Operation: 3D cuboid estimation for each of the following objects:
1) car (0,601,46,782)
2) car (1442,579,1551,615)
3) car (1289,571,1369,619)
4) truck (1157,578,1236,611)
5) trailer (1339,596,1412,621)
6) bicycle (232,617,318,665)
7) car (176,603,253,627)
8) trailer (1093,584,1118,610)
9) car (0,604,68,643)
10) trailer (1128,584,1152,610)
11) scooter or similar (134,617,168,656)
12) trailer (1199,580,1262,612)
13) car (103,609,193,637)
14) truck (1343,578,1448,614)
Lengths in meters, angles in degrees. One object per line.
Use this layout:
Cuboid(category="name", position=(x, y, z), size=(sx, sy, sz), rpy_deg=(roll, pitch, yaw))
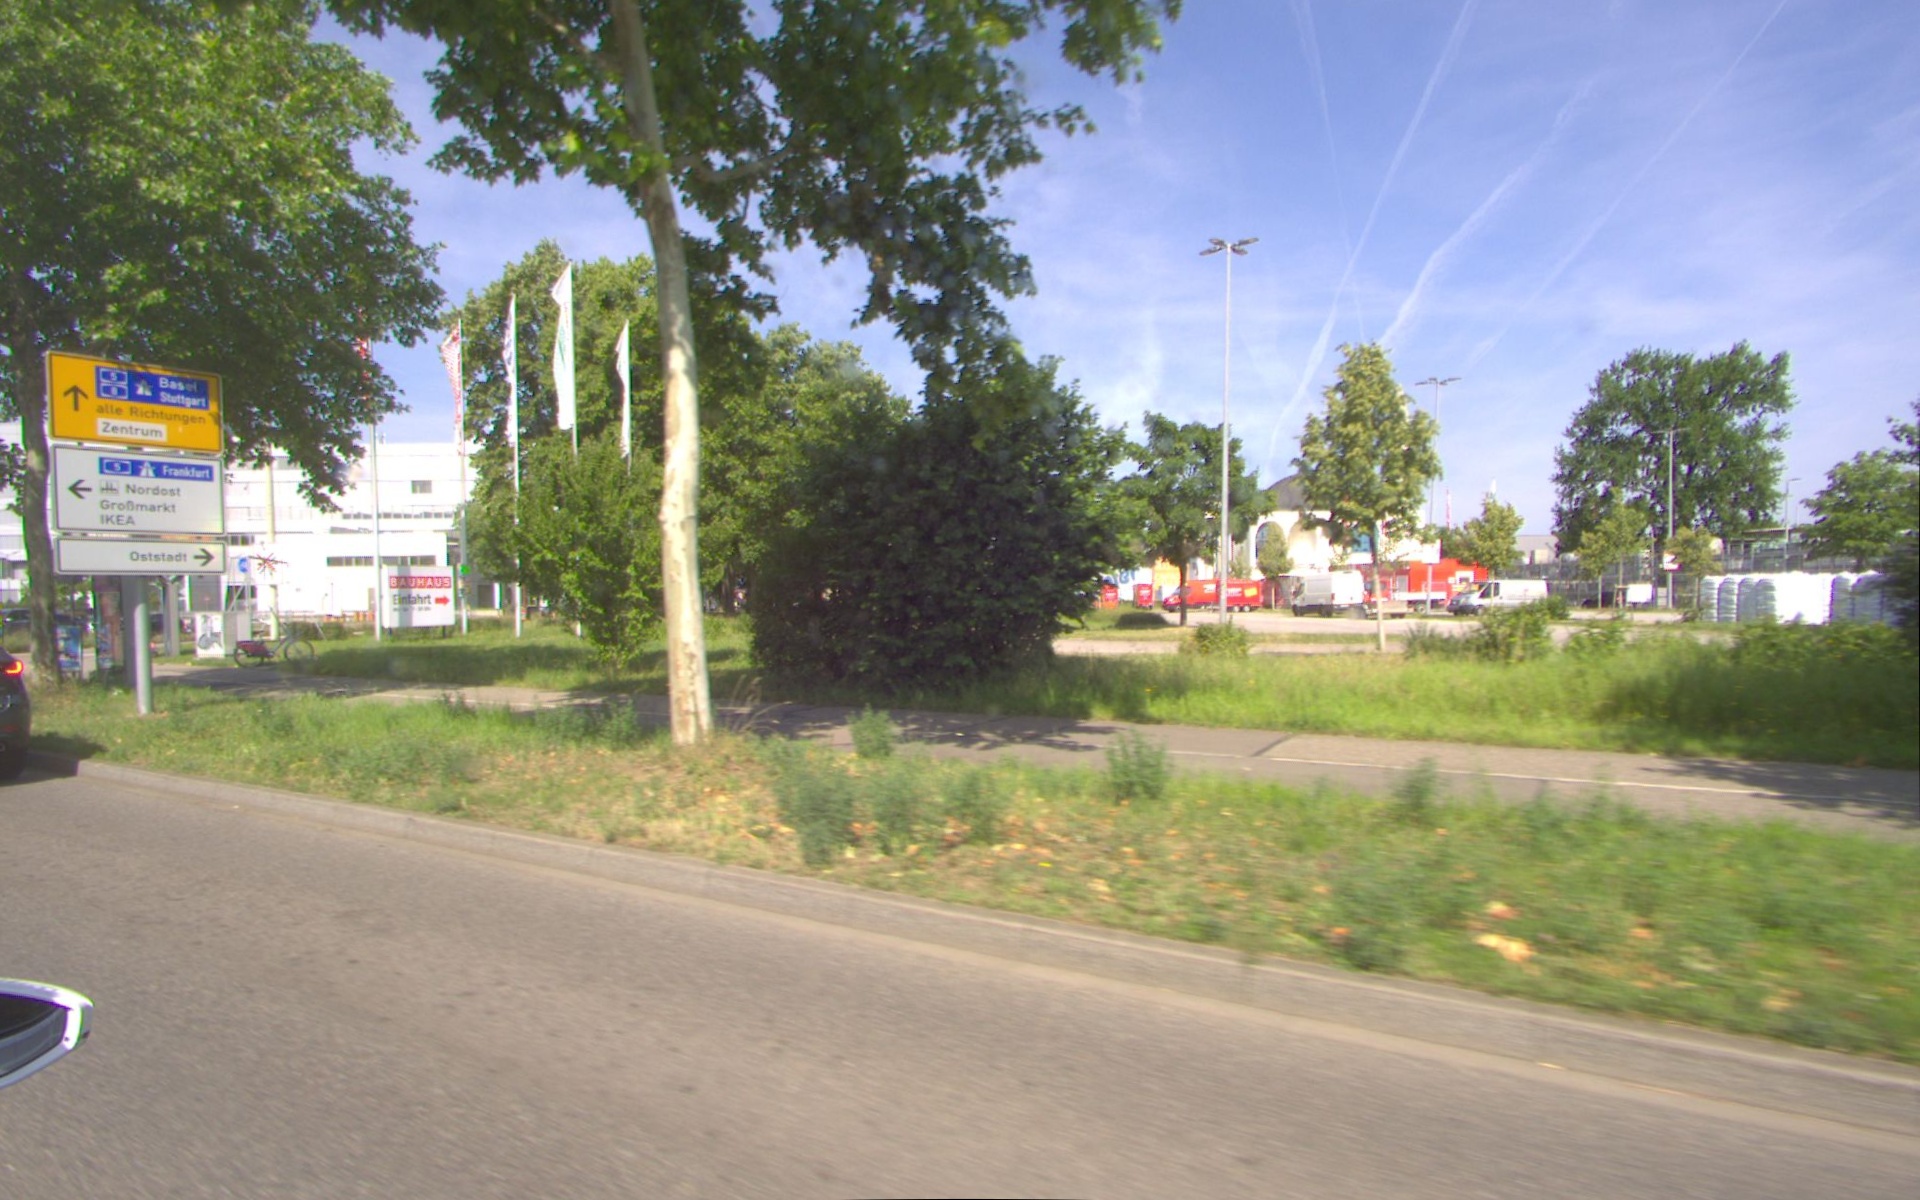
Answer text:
Cuboid(category="car", position=(-11.098, 0.872, 9.997), size=(4.431, 1.680, 1.763), rpy_deg=(-1, -1, 32))
Cuboid(category="car", position=(28.120, -0.166, 52.557), size=(4.737, 1.841, 1.873), rpy_deg=(0, 2, -6))
Cuboid(category="car", position=(21.425, -0.285, 58.410), size=(1.980, 2.576, 5.686), rpy_deg=(-3, 0, -6))
Cuboid(category="truck", position=(19.215, -0.433, 81.372), size=(5.914, 2.644, 2.018), rpy_deg=(0, 1, -6))
Cuboid(category="trailer", position=(21.849, 0.433, 52.822), size=(2.029, 1.137, 4.030), rpy_deg=(-3, 0, -2))
Cuboid(category="bicycle", position=(-17.859, 1.056, 26.139), size=(1.771, 1.123, 0.499), rpy_deg=(-3, 2, -40))
Cuboid(category="car", position=(-48.104, 0.922, 64.744), size=(1.747, 1.463, 4.625), rpy_deg=(-1, 0, -4))
Cuboid(category="trailer", position=(13.616, -0.303, 93.988), size=(1.560, 2.408, 4.410), rpy_deg=(0, 1, -1))
Cuboid(category="car", position=(-44.225, 1.070, 46.360), size=(1.879, 1.711, 4.625), rpy_deg=(-1, 0, -4))
Cuboid(category="trailer", position=(16.764, -0.291, 93.373), size=(1.520, 2.390, 4.410), rpy_deg=(0, 1, 2))
Cuboid(category="scooter or similar", position=(-23.956, 1.068, 29.646), size=(1.107, 1.141, 0.423), rpy_deg=(0, 1, 32))
Cuboid(category="trailer", position=(20.396, -0.323, 75.638), size=(4.325, 2.409, 1.751), rpy_deg=(0, 1, 0))
Cuboid(category="car", position=(-47.836, 1.324, 59.109), size=(1.747, 1.463, 4.625), rpy_deg=(-1, 0, -4))
Cuboid(category="truck", position=(27.526, -0.252, 63.380), size=(5.751, 2.168, 2.066), rpy_deg=(-1, 0, -1))
